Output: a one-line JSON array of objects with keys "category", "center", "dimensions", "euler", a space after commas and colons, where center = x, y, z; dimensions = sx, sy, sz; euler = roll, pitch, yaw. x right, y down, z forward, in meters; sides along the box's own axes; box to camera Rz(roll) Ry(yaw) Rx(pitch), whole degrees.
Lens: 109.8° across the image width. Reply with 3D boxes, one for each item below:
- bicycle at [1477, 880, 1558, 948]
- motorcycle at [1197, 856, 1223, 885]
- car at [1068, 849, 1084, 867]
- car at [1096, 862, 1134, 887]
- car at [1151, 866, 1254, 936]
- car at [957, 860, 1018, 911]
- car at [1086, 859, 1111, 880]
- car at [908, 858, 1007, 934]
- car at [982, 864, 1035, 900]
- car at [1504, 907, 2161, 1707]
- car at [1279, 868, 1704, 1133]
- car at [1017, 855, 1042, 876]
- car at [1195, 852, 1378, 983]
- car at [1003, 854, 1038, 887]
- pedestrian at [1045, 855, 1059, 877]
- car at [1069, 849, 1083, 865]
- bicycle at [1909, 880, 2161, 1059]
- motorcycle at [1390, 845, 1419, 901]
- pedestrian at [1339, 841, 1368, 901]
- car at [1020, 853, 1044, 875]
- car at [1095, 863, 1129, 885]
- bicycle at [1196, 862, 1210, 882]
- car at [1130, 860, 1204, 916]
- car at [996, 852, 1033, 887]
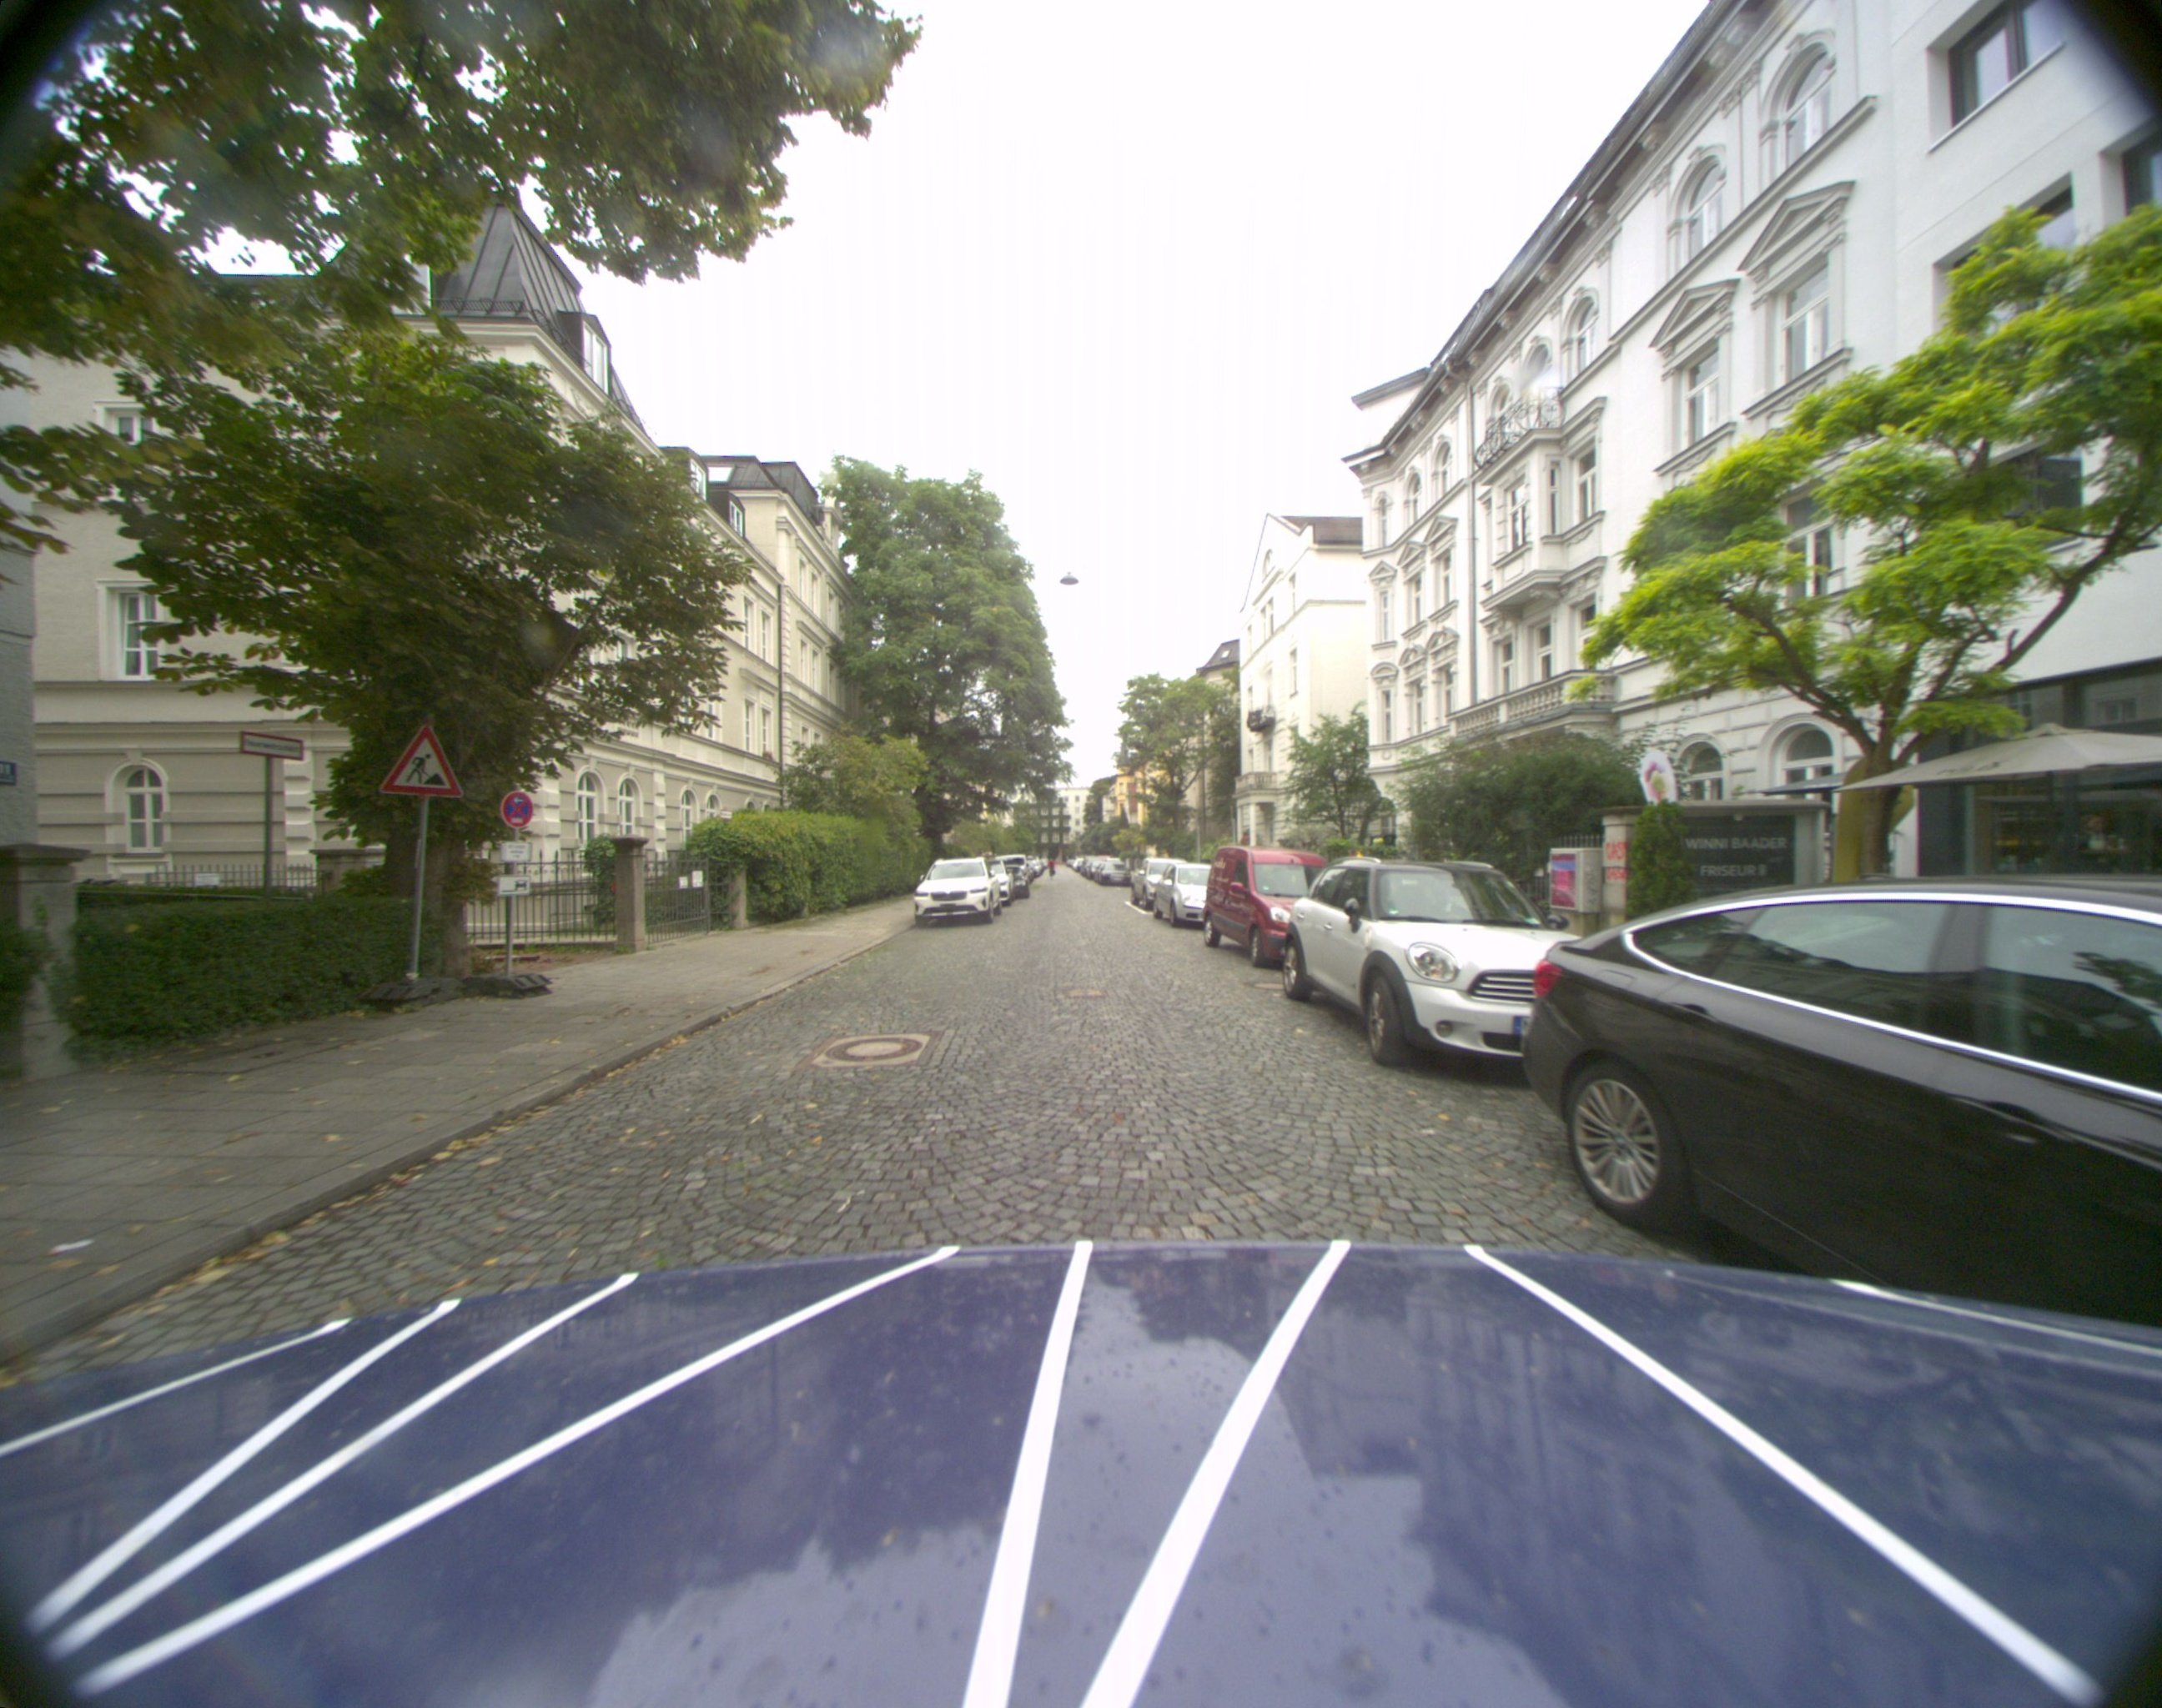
[{"category": "bicycle", "center": [7.527, 1.009, 13.181], "dimensions": [0.258, 1.072, 1.685], "euler": [-2, -1, -6]}, {"category": "motorcycle", "center": [6.649, 0.827, 39.168], "dimensions": [0.738, 1.420, 2.244], "euler": [-3, 1, -4]}, {"category": "car", "center": [-0.588, 0.440, 90.166], "dimensions": [1.763, 2.002, 3.999], "euler": [-1, 0, -1]}, {"category": "car", "center": [2.027, 1.223, 46.411], "dimensions": [1.886, 1.411, 4.808], "euler": [0, 0, -2]}, {"category": "car", "center": [2.795, 1.039, 18.278], "dimensions": [1.636, 1.386, 3.815], "euler": [-1, 0, -3]}, {"category": "car", "center": [-3.229, 1.044, 27.020], "dimensions": [1.752, 1.591, 4.471], "euler": [-1, 0, -2]}, {"category": "car", "center": [1.309, 1.171, 58.590], "dimensions": [1.714, 1.416, 3.999], "euler": [-1, 0, -1]}, {"category": "car", "center": [-3.124, 1.000, 20.162], "dimensions": [1.925, 1.676, 4.632], "euler": [-1, 1, -1]}, {"category": "car", "center": [-2.982, 1.117, 32.083], "dimensions": [1.924, 1.290, 4.807], "euler": [-1, 0, -2]}, {"category": "car", "center": [3.032, 1.008, 1.581], "dimensions": [1.730, 1.456, 4.472], "euler": [1, 0, -1]}, {"category": "car", "center": [2.990, 0.932, 6.517], "dimensions": [1.697, 1.495, 3.777], "euler": [-1, 0, 2]}, {"category": "car", "center": [-4.490, 1.018, 66.831], "dimensions": [1.999, 1.705, 3.999], "euler": [-1, 0, -1]}, {"category": "car", "center": [3.001, 0.835, 11.959], "dimensions": [1.722, 1.713, 3.897], "euler": [0, 0, -2]}, {"category": "car", "center": [-3.960, 1.044, 49.937], "dimensions": [1.999, 2.002, 3.999], "euler": [-1, 0, -1]}, {"category": "pedestrian", "center": [-2.343, 0.950, 61.297], "dimensions": [1.106, 1.768, 1.263], "euler": [-1, 1, -1]}, {"category": "car", "center": [-0.668, 0.372, 99.553], "dimensions": [1.791, 2.002, 3.214], "euler": [-1, 0, -1]}, {"category": "bicycle", "center": [7.637, 0.826, 5.892], "dimensions": [0.361, 1.168, 1.911], "euler": [-1, 0, 1]}, {"category": "motorcycle", "center": [7.115, 0.383, 16.753], "dimensions": [0.331, 1.173, 1.627], "euler": [-1, 1, 14]}, {"category": "pedestrian", "center": [7.584, 0.475, 21.186], "dimensions": [0.577, 1.637, 0.822], "euler": [0, 0, 5]}, {"category": "car", "center": [-4.575, 0.911, 71.840], "dimensions": [1.999, 2.002, 3.999], "euler": [-1, 0, -1]}, {"category": "car", "center": [2.061, 1.347, 51.436], "dimensions": [1.999, 1.324, 3.999], "euler": [-1, 0, -1]}, {"category": "bicycle", "center": [6.711, 0.996, 41.878], "dimensions": [0.357, 1.044, 1.743], "euler": [-2, 0, -4]}, {"category": "car", "center": [2.687, 1.036, 24.525], "dimensions": [1.694, 1.563, 4.067], "euler": [-1, 0, -3]}, {"category": "car", "center": [-3.867, 0.860, 44.766], "dimensions": [1.819, 1.809, 4.807], "euler": [-5, 1, -3]}]
